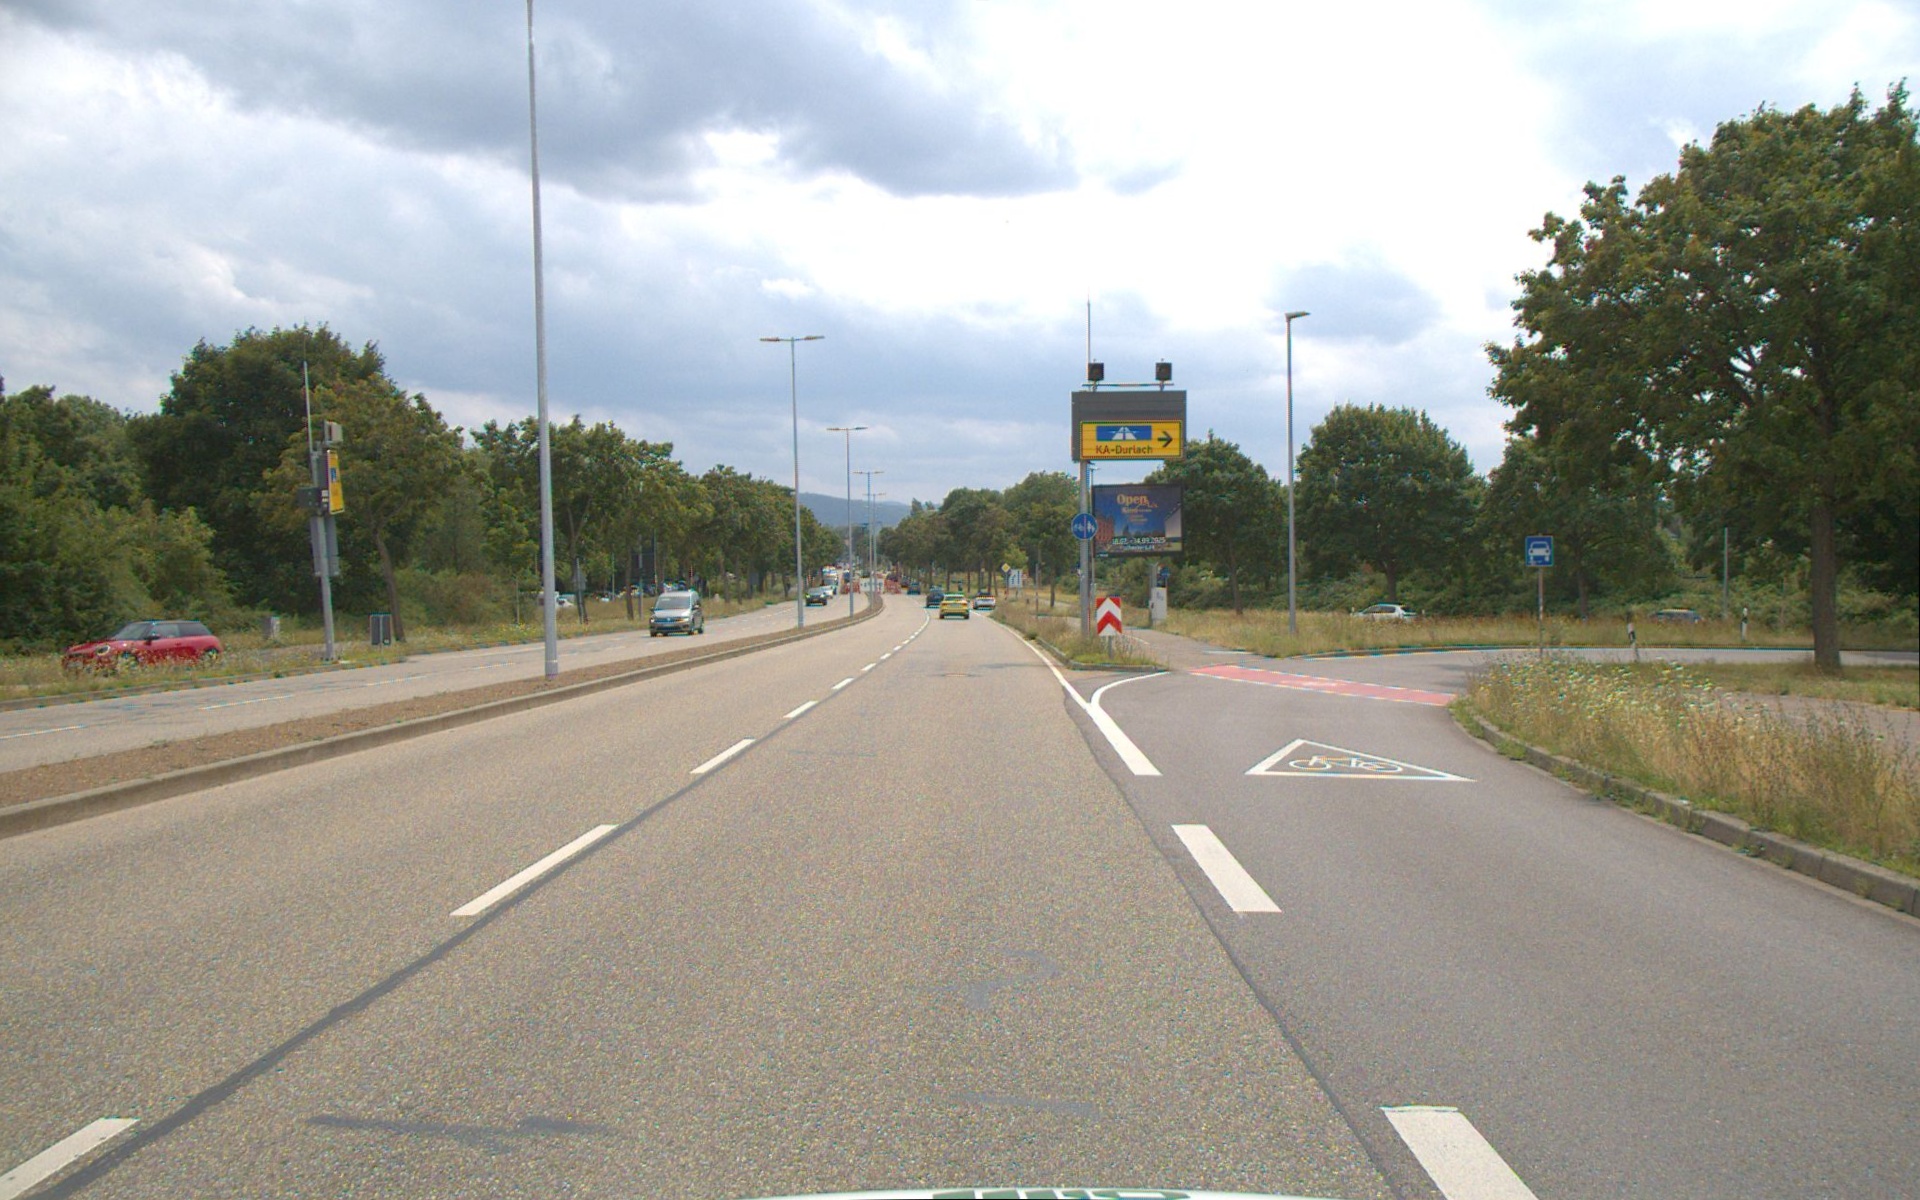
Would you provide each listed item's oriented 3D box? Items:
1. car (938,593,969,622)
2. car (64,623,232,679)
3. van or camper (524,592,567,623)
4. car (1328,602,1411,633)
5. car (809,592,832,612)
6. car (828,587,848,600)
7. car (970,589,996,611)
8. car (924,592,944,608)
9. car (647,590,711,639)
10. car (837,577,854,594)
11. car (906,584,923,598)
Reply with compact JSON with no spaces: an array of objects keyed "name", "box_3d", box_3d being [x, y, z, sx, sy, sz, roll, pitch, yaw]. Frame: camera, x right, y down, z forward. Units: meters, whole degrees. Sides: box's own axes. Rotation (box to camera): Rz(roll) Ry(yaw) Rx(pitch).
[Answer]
[{"name":"car","box_3d":[-0.403,0.415,99.204,1.757,1.589,3.999,-1,1,-2]},{"name":"car","box_3d":[-20.345,1.247,41.617,1.375,1.266,3.891,0,0,22]},{"name":"van or camper","box_3d":[-38.035,0.648,152.066,2.422,2.585,6.718,-1,1,-2]},{"name":"car","box_3d":[21.776,0.916,88.000,3.927,1.489,1.763,0,2,41]},{"name":"car","box_3d":[-13.832,0.200,163.856,1.953,1.843,4.796,-2,1,-2]},{"name":"car","box_3d":[-14.543,-0.817,197.645,1.953,1.455,4.688,-2,1,0]},{"name":"car","box_3d":[1.952,-0.018,141.330,1.973,1.699,3.999,-1,1,-2]},{"name":"car","box_3d":[-2.288,0.030,144.703,1.633,1.292,3.999,-1,1,-2]},{"name":"car","box_3d":[-11.526,0.559,68.182,1.864,1.841,4.540,-1,1,0]},{"name":"car","box_3d":[-15.668,-1.979,226.351,2.053,2.239,6.002,-2,1,-2]},{"name":"car","box_3d":[-6.128,-1.204,221.338,2.161,1.713,4.000,-1,1,-1]}]
